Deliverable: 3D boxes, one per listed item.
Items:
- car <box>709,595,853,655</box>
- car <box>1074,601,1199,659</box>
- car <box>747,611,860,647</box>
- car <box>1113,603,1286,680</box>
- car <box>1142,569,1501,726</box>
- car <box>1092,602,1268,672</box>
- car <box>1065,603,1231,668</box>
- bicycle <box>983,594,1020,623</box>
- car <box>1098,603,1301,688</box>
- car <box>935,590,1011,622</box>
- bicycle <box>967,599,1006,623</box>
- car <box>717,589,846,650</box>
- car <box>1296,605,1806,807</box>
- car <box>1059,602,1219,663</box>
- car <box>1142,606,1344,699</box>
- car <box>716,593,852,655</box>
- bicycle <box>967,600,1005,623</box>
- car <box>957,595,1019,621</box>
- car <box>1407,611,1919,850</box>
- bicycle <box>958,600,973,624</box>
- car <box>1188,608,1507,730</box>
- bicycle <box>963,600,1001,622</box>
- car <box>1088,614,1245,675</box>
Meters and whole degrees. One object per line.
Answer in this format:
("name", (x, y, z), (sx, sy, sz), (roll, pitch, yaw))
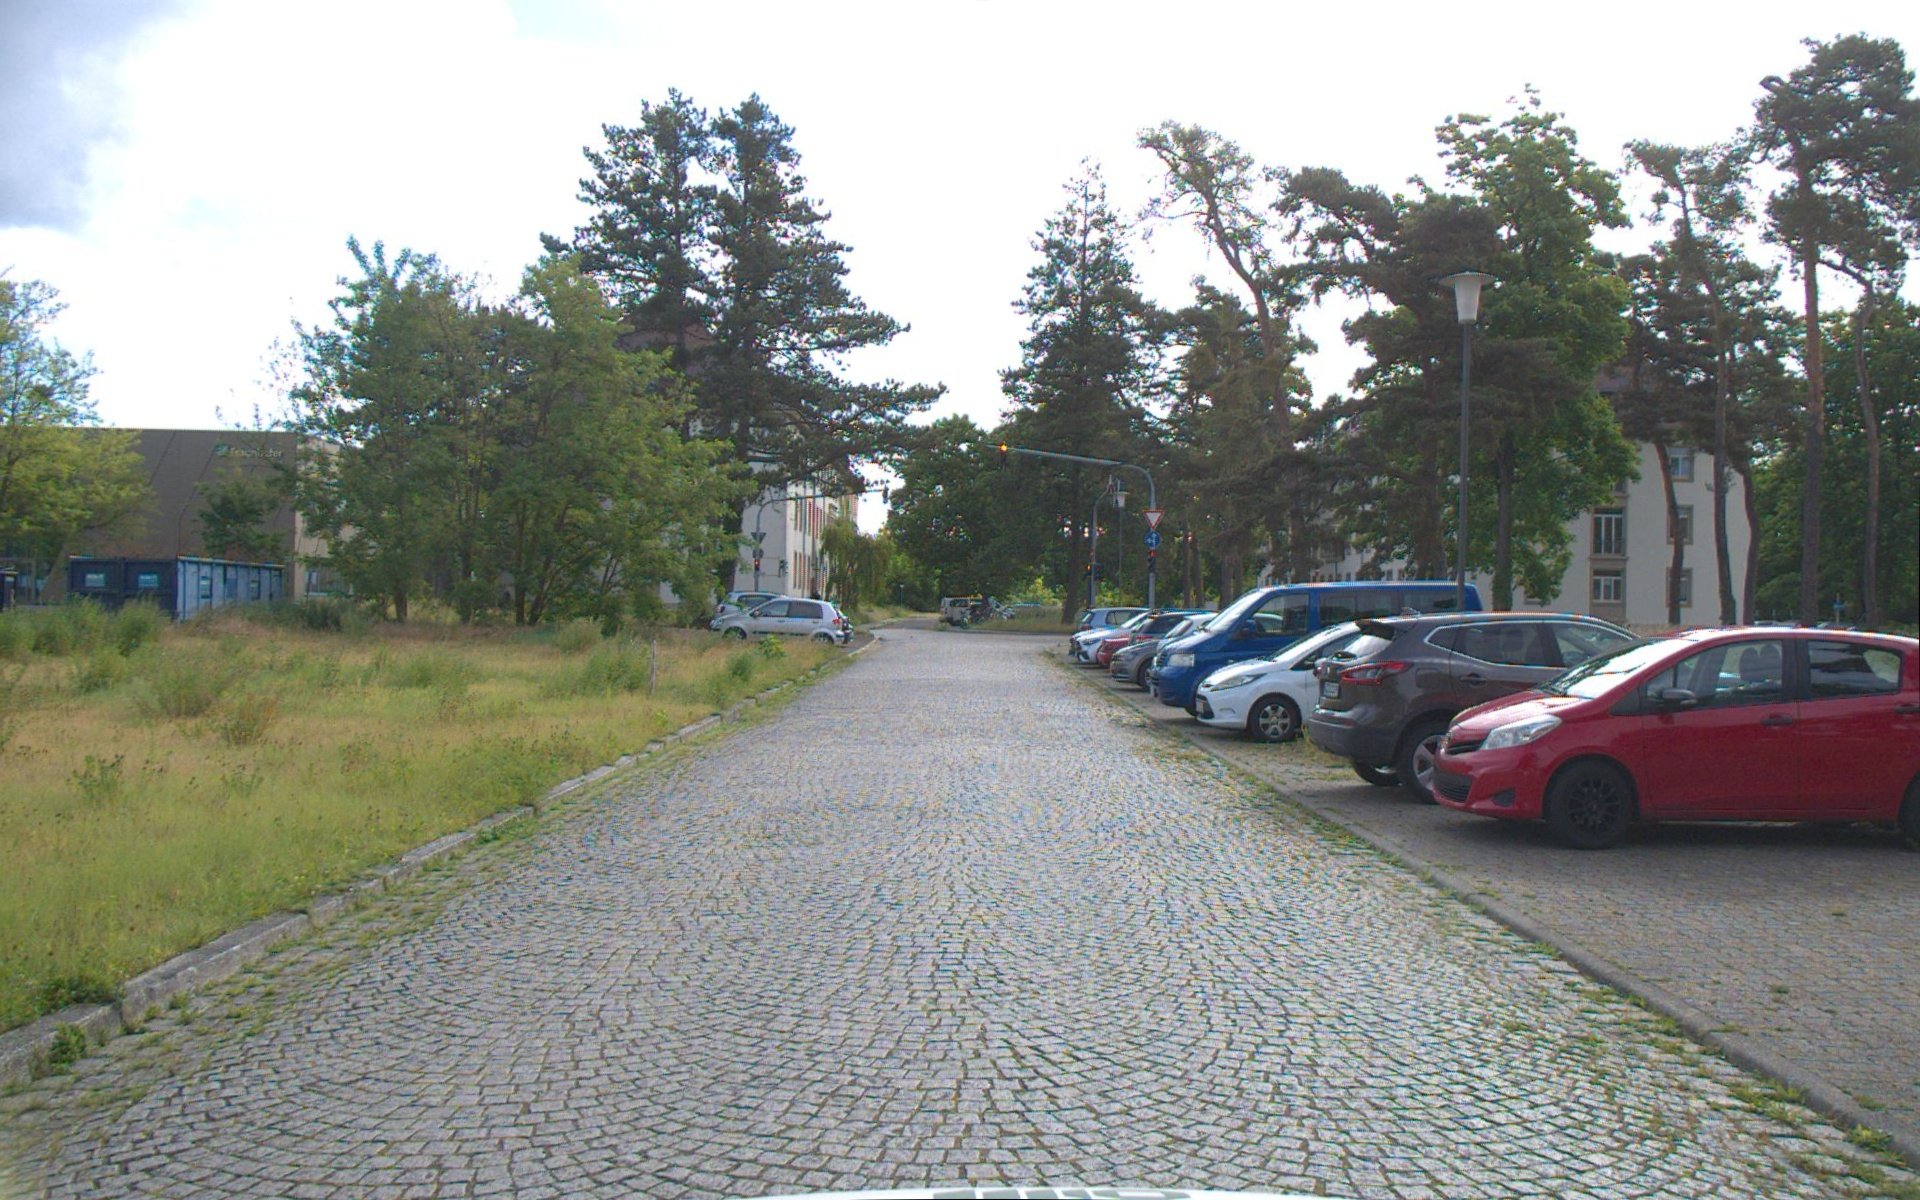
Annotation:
("car", (-5.016, 0.696, 46.459), (3.910, 1.579, 1.997), (1, 0, -7))
("car", (5.040, 0.854, 47.362), (3.323, 1.570, 1.389), (1, 0, -6))
("car", (-5.140, 0.945, 54.250), (3.600, 1.113, 1.644), (1, 0, -7))
("car", (5.028, 0.862, 34.875), (3.233, 1.530, 1.660), (1, 0, -11))
("car", (5.066, 0.652, 23.525), (4.686, 2.075, 1.737), (1, 0, -3))
("car", (5.257, 0.880, 39.746), (3.910, 1.570, 1.662), (1, 0, -6))
("car", (4.745, 0.888, 41.999), (3.910, 1.570, 1.662), (1, 0, -6))
("bicycle", (2.446, 0.511, 97.613), (2.119, 1.644, 0.811), (1, 0, -7))
("car", (4.596, 0.867, 31.900), (3.533, 1.533, 1.660), (1, 0, -11))
("car", (0.901, 0.392, 114.125), (4.960, 2.049, 1.995), (1, 0, -11))
("bicycle", (1.541, 0.639, 96.306), (2.119, 1.290, 0.811), (1, 0, -7))
("car", (-5.605, 0.597, 51.938), (3.911, 1.780, 1.924), (1, 0, -8))
("car", (5.108, 0.887, 14.635), (3.870, 1.608, 1.761), (1, 0, -2))
("car", (4.829, 0.869, 44.790), (4.043, 1.570, 1.662), (1, 0, -6))
("car", (4.927, 0.905, 29.064), (3.226, 1.531, 1.663), (1, 0, -3))
("car", (-5.194, 0.706, 48.946), (3.910, 1.735, 1.997), (1, 0, -7))
("bicycle", (1.534, 0.645, 96.894), (2.119, 1.290, 0.811), (1, 0, -7))
("car", (1.860, 0.532, 110.856), (3.910, 1.673, 1.997), (1, 0, -7))
("car", (5.443, 0.893, 12.006), (3.905, 1.545, 1.738), (1, 0, -1))
("bicycle", (0.329, 0.653, 92.536), (0.793, 1.290, 1.973), (1, 0, 1))
("car", (4.868, 0.844, 21.065), (3.648, 1.449, 1.653), (0, 0, -3))
("bicycle", (1.296, 0.649, 98.105), (2.119, 1.290, 0.811), (1, 0, -7))
("car", (4.656, 1.000, 37.493), (3.229, 1.289, 1.662), (1, 0, -6))
